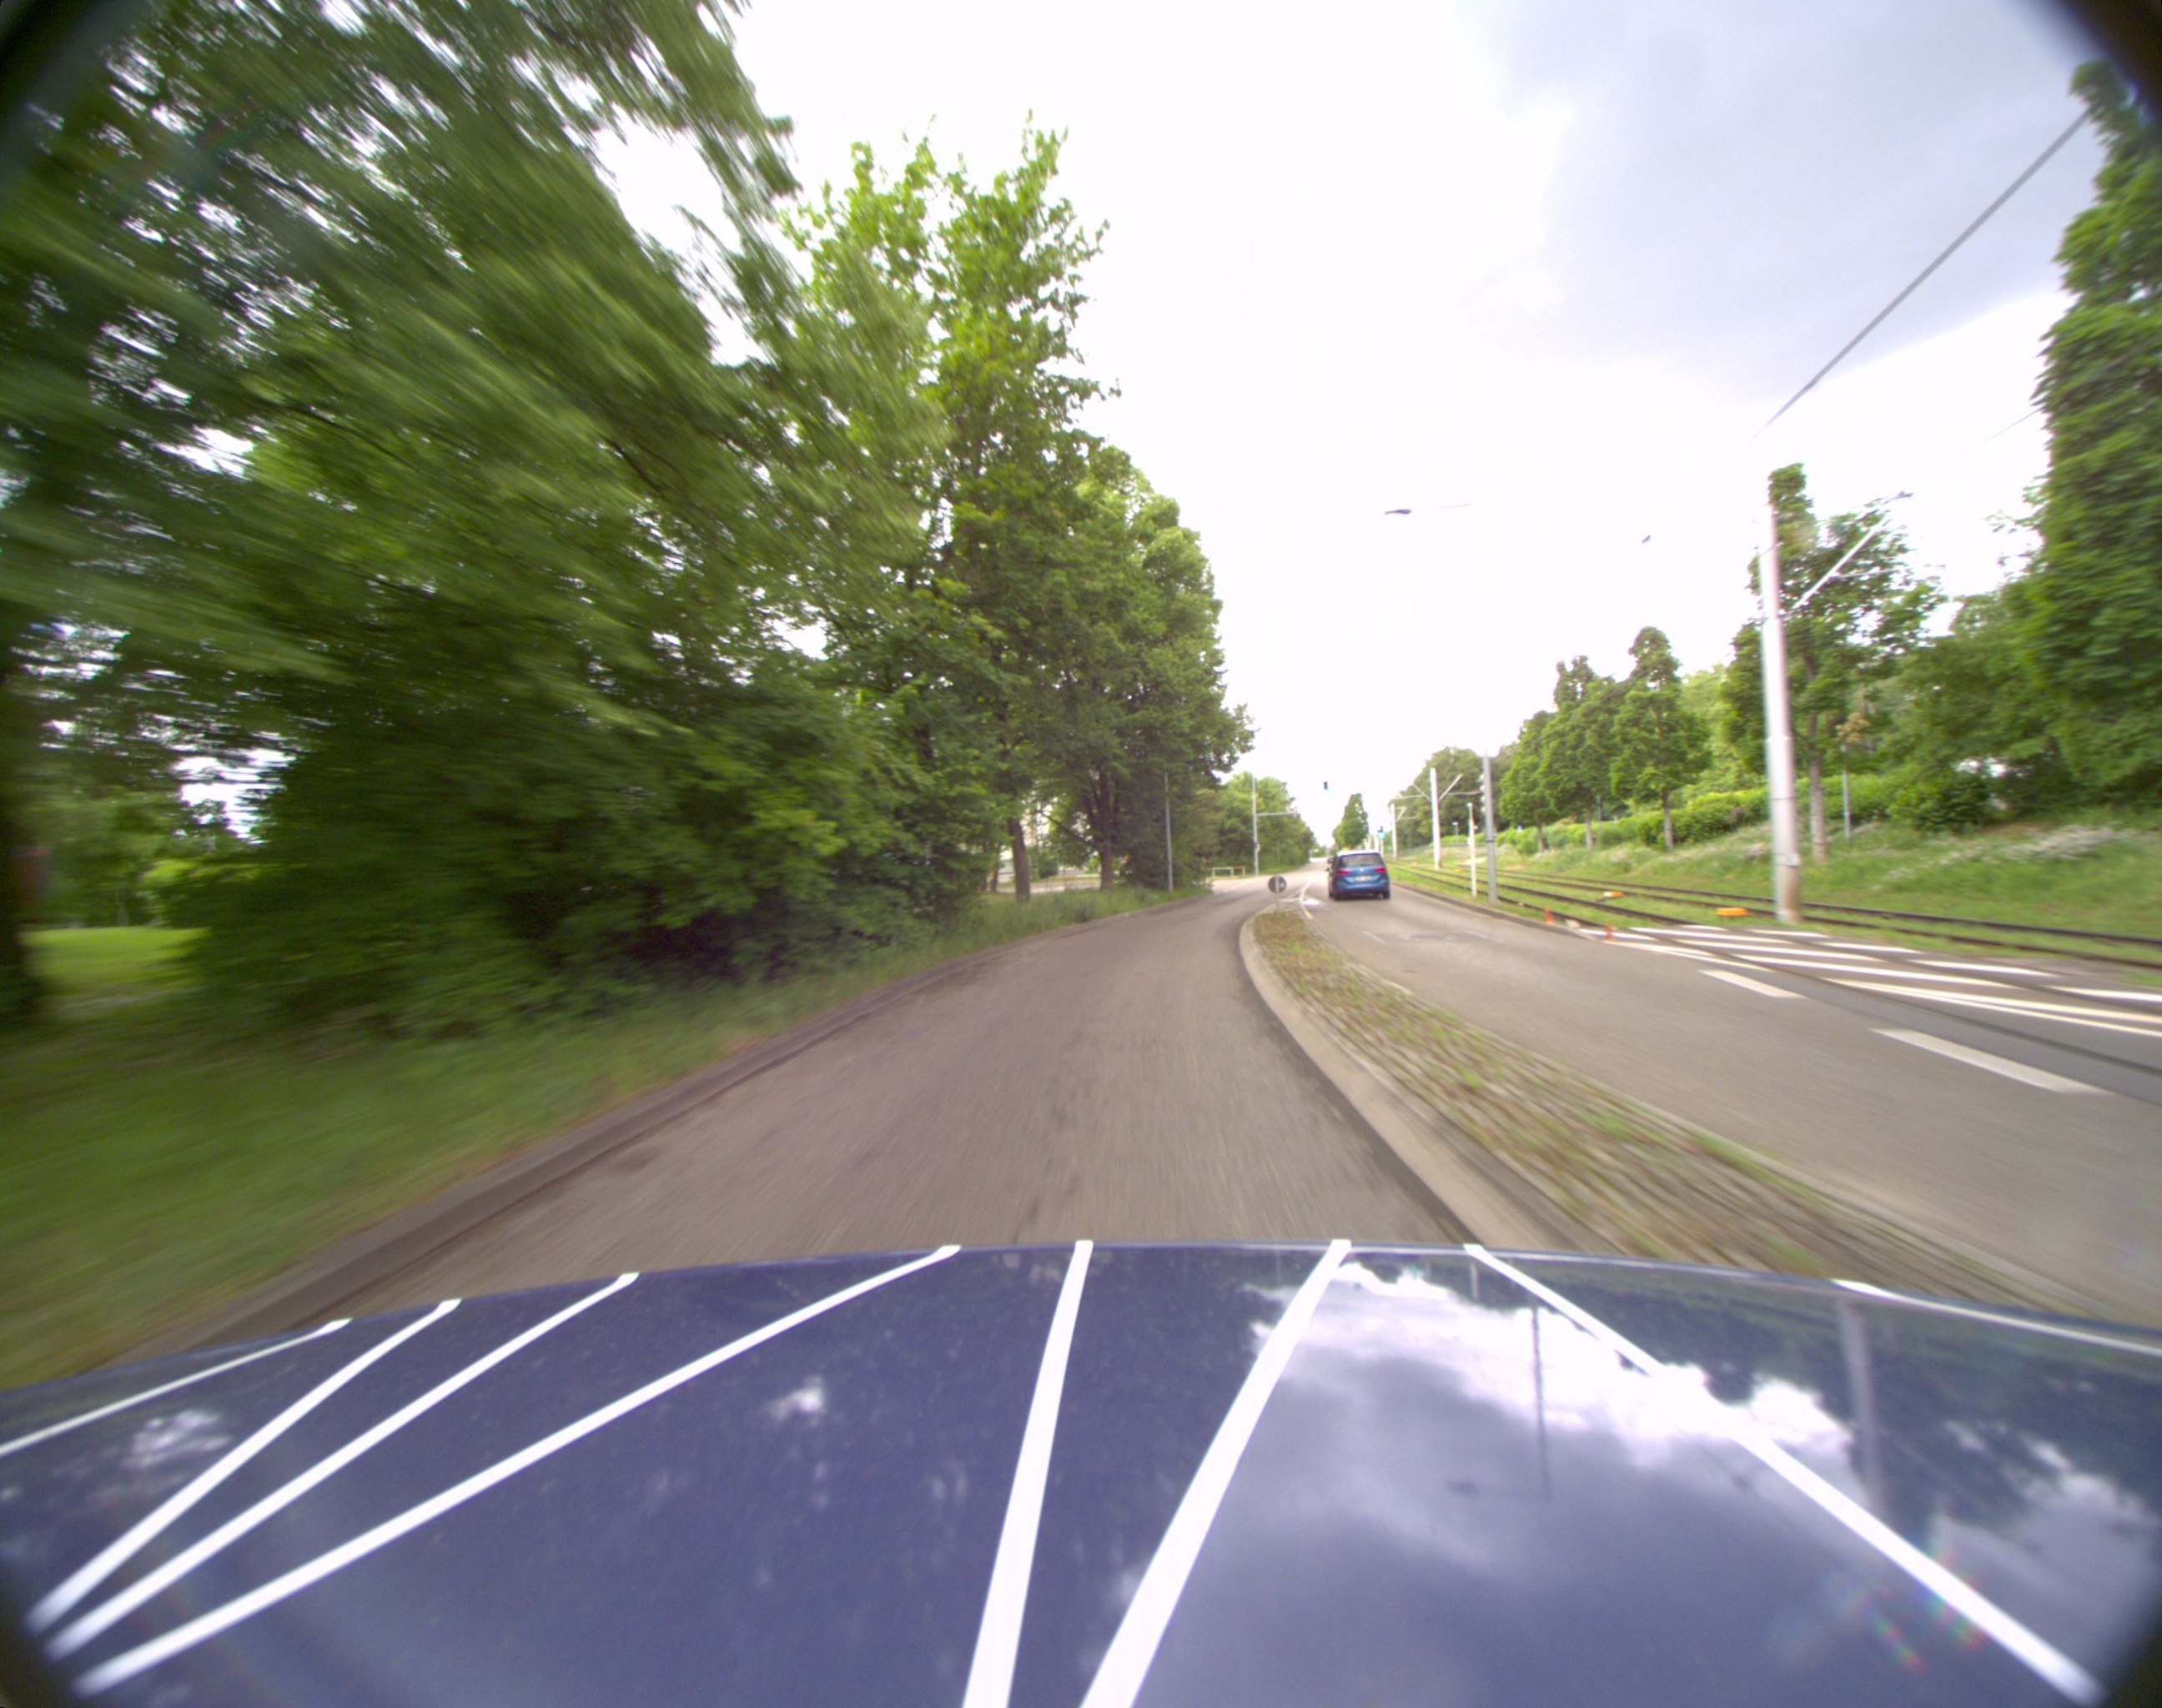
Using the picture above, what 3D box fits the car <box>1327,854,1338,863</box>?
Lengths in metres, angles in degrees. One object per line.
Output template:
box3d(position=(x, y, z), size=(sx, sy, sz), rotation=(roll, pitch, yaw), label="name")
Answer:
box3d(position=(48.168, 0.892, 145.356), size=(1.852, 1.461, 4.262), rotation=(-4, -2, 18), label="car")

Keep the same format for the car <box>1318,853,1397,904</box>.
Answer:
box3d(position=(9.396, 0.814, 26.128), size=(1.870, 1.511, 4.243), rotation=(-4, -2, 11), label="car")
